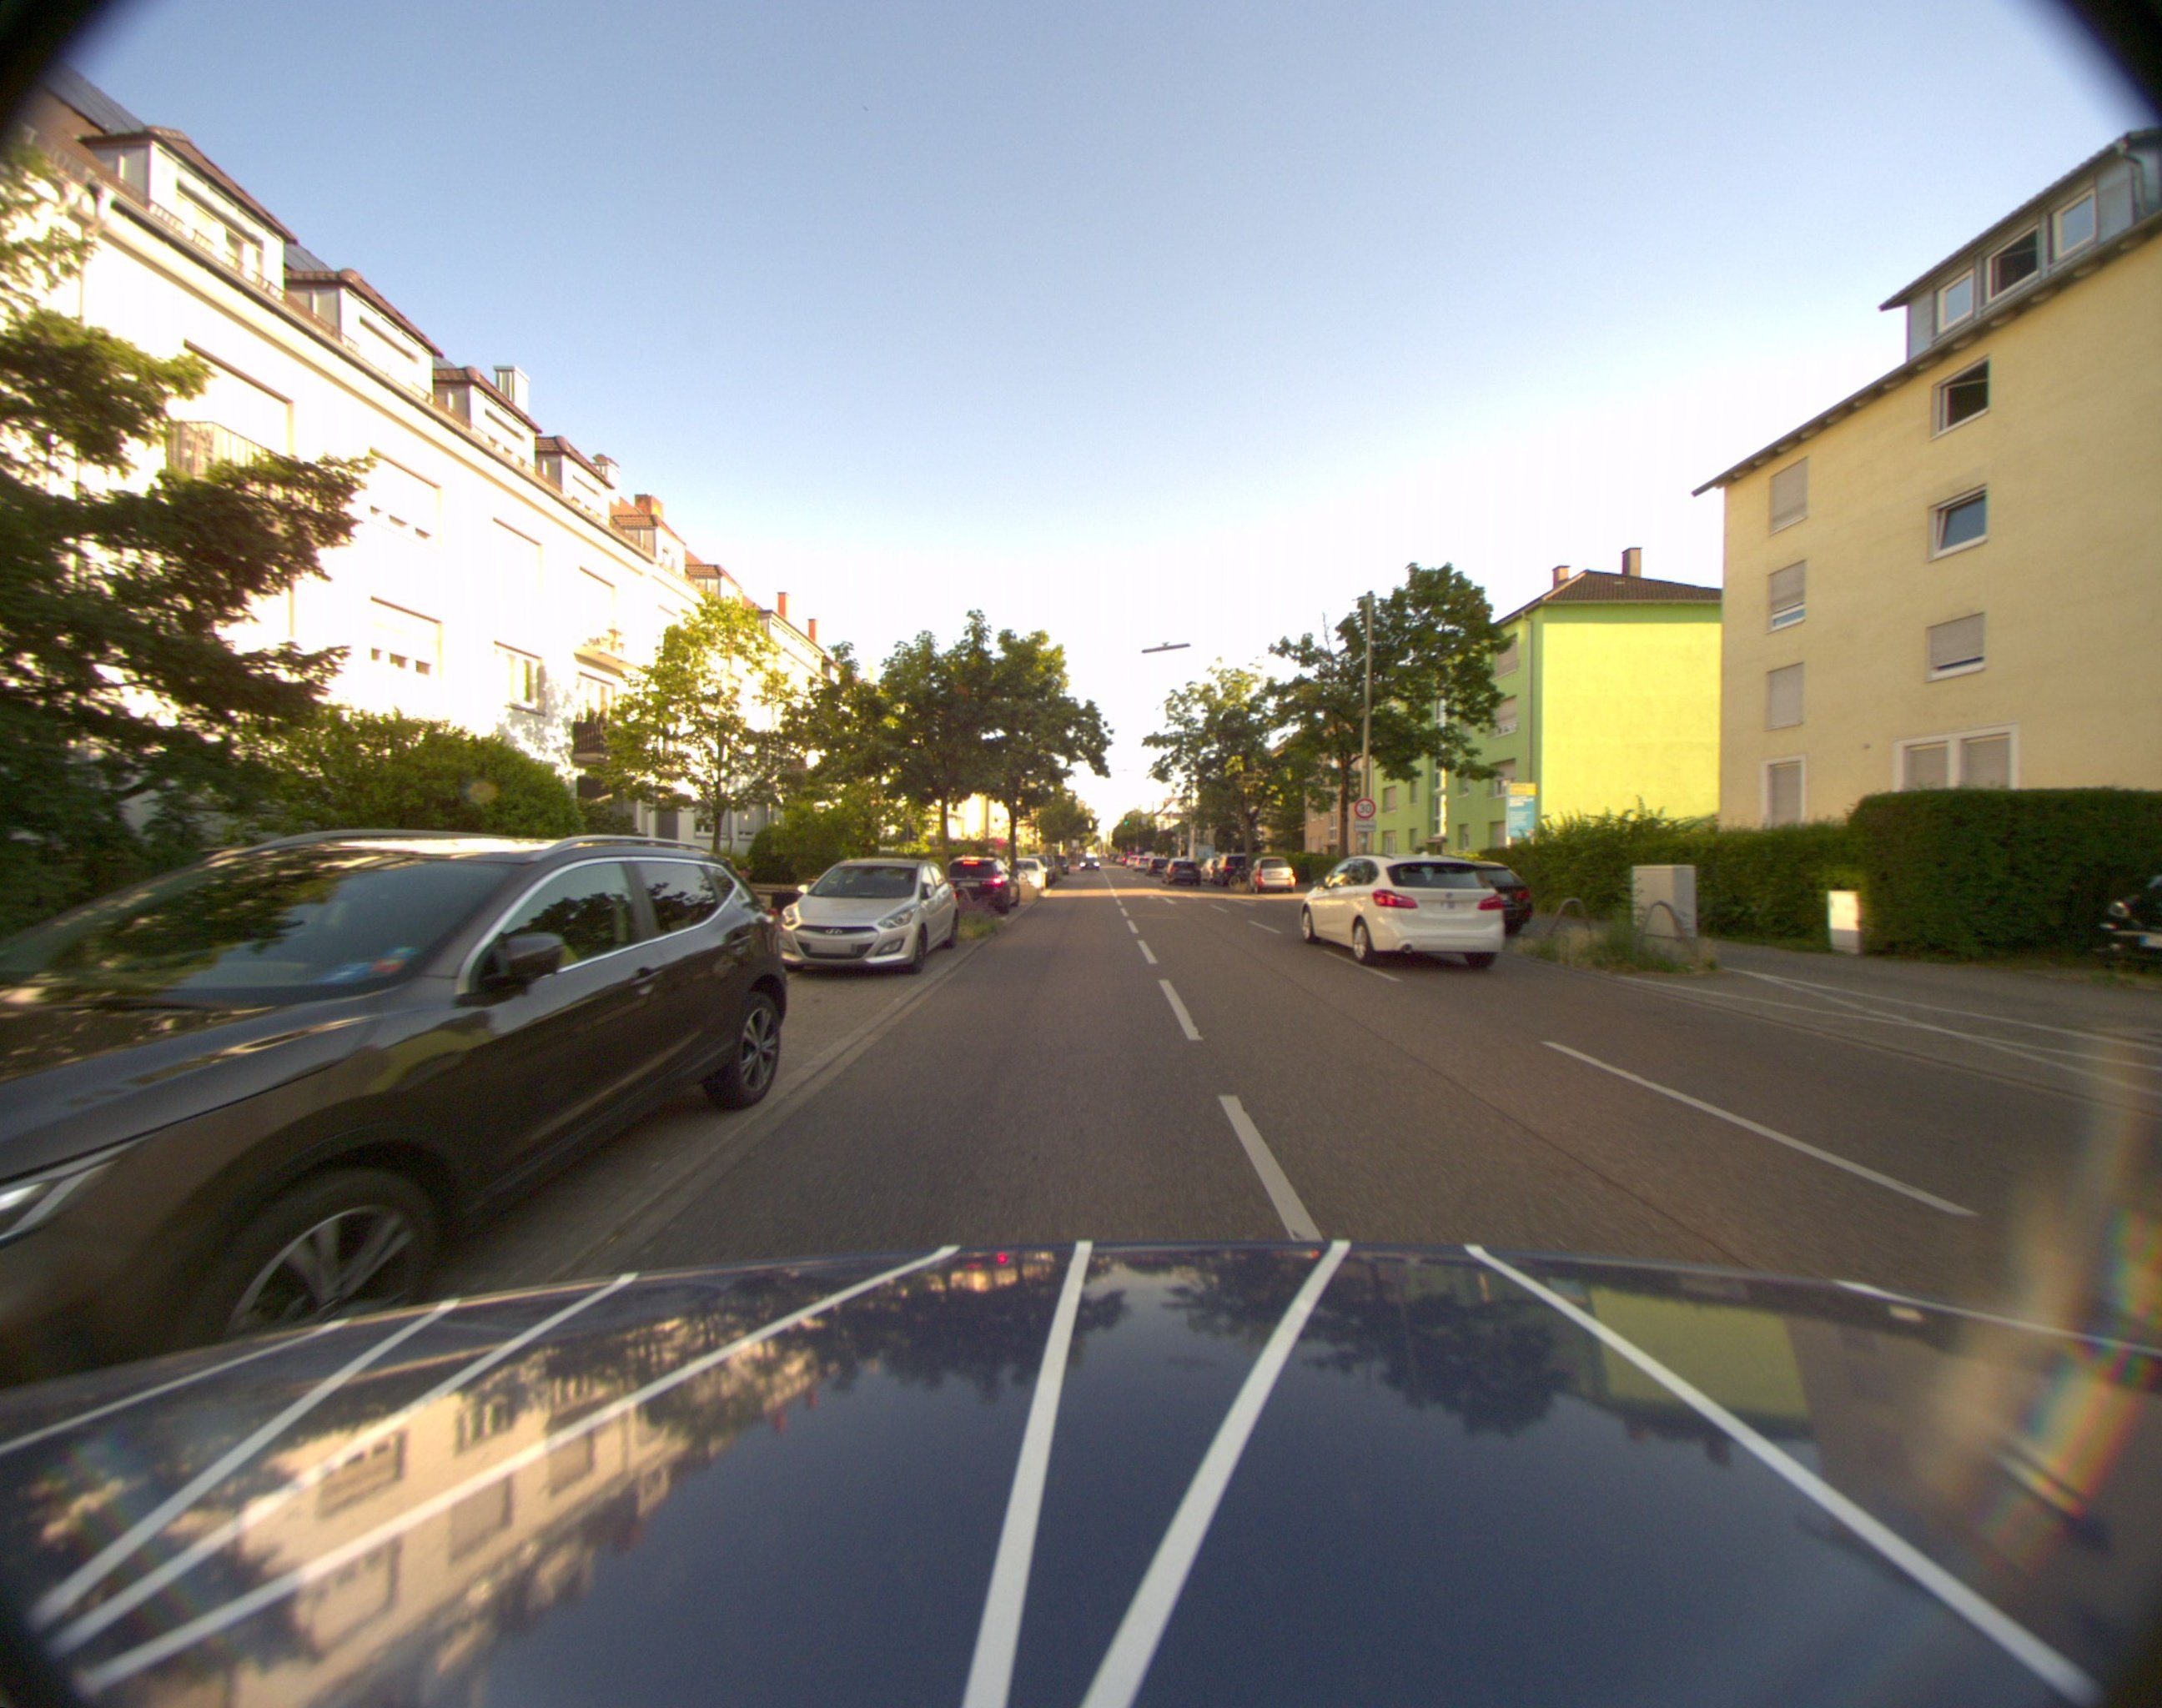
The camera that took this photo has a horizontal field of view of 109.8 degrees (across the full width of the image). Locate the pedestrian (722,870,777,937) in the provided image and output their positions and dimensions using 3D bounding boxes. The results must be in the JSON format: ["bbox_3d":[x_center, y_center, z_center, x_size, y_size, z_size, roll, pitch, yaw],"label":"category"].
[{"bbox_3d":[-6.327,0.928,14.531,0.674,1.227,0.790,-1,1,2],"label":"pedestrian"}]

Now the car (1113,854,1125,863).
[{"bbox_3d":[6.506,0.757,130.707,1.841,1.465,4.671,1,0,1],"label":"car"}]

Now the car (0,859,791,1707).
[{"bbox_3d":[-2.819,0.857,2.981,1.722,1.592,4.096,2,0,1],"label":"car"}]

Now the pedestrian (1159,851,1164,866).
[{"bbox_3d":[10.955,0.647,103.526,0.639,2.002,0.739,0,1,2],"label":"pedestrian"}]

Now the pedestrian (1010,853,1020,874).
[{"bbox_3d":[-4.856,0.672,55.665,0.558,1.559,0.747,0,1,-17],"label":"pedestrian"}]

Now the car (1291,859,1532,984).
[{"bbox_3d":[4.745,0.869,11.701,1.884,1.534,4.267,1,0,1],"label":"car"}]

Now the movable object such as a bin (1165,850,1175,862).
[{"bbox_3d":[13.815,0.289,117.811,1.309,1.649,1.180,-4,2,1],"label":"movable object such as a bin"}]

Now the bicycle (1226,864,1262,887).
[{"bbox_3d":[8.245,1.094,38.395,1.679,1.083,0.560,-2,0,3],"label":"bicycle"}]

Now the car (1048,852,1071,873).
[{"bbox_3d":[-1.719,0.673,61.666,1.796,1.622,4.029,0,0,0],"label":"car"}]

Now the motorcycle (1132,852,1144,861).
[{"bbox_3d":[10.030,0.395,133.476,1.263,1.526,2.887,0,1,-13],"label":"motorcycle"}]

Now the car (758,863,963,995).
[{"bbox_3d":[-2.924,0.911,11.114,1.722,1.485,4.394,0,0,0],"label":"car"}]

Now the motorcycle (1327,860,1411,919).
[{"bbox_3d":[7.579,0.910,19.990,2.031,1.381,0.988,-3,2,-31],"label":"motorcycle"}]

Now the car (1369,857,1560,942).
[{"bbox_3d":[7.835,0.841,16.079,1.783,1.496,4.588,0,0,1],"label":"car"}]

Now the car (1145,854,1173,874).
[{"bbox_3d":[5.975,0.749,58.489,1.704,1.395,4.027,2,0,1],"label":"car"}]

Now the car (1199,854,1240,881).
[{"bbox_3d":[8.491,0.796,46.875,1.687,1.512,4.190,0,0,0],"label":"car"}]

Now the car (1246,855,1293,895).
[{"bbox_3d":[8.170,0.883,33.109,1.502,1.607,2.862,0,0,4],"label":"car"}]

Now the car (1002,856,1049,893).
[{"bbox_3d":[-2.367,0.847,33.341,1.641,1.482,4.415,1,0,1],"label":"car"}]

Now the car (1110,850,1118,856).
[{"bbox_3d":[7.637,-0.278,177.602,1.845,1.312,4.442,1,0,2],"label":"car"}]

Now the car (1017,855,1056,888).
[{"bbox_3d":[-2.232,0.856,38.875,1.640,1.559,4.000,1,0,1],"label":"car"}]

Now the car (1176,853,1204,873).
[{"bbox_3d":[8.797,0.703,61.771,1.641,1.543,3.785,0,0,-2],"label":"car"}]

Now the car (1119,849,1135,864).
[{"bbox_3d":[6.581,0.362,108.168,1.998,1.934,4.777,2,0,1],"label":"car"}]

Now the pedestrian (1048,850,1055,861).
[{"bbox_3d":[-4.413,0.255,113.545,0.830,1.673,0.660,1,1,5],"label":"pedestrian"}]

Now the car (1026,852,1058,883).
[{"bbox_3d":[-2.182,0.729,43.684,1.726,1.646,4.596,0,0,-2],"label":"car"}]

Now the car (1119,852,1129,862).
[{"bbox_3d":[8.382,0.623,149.085,1.866,1.819,5.228,2,0,3],"label":"car"}]

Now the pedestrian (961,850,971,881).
[{"bbox_3d":[-6.363,0.612,41.970,0.512,1.687,0.527,0,1,-4],"label":"pedestrian"}]

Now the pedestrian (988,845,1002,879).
[{"bbox_3d":[-4.626,0.417,40.975,0.549,1.839,0.765,0,1,8],"label":"pedestrian"}]

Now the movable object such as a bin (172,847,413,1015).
[{"bbox_3d":[-7.823,0.704,7.607,1.269,1.484,1.140,2,1,11],"label":"movable object such as a bin"}]

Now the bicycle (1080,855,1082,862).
[{"bbox_3d":[-0.002,0.720,122.770,0.325,0.981,1.191,0,1,5],"label":"bicycle"}]

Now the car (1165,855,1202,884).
[{"bbox_3d":[5.626,0.835,42.022,1.704,1.462,4.295,1,0,3],"label":"car"}]

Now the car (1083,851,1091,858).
[{"bbox_3d":[1.426,0.101,188.025,1.744,1.508,3.811,0,0,3],"label":"car"}]

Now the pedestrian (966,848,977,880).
[{"bbox_3d":[-5.875,0.547,40.843,0.512,1.687,0.527,0,1,-4],"label":"pedestrian"}]

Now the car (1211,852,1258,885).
[{"bbox_3d":[8.366,0.742,41.703,1.788,1.722,4.617,0,0,2],"label":"car"}]

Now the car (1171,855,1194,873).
[{"bbox_3d":[8.854,0.850,66.513,1.657,1.471,3.943,0,0,2],"label":"car"}]

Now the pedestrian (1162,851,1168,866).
[{"bbox_3d":[11.303,0.622,102.054,0.645,2.002,0.814,-1,2,2],"label":"pedestrian"}]

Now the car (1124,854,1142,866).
[{"bbox_3d":[6.376,0.735,93.929,1.820,1.438,4.110,2,0,0],"label":"car"}]

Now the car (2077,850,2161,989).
[{"bbox_3d":[13.905,0.697,8.247,3.997,1.520,1.629,-1,0,1],"label":"car"}]

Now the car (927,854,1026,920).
[{"bbox_3d":[-2.760,0.821,21.266,1.879,1.572,4.821,1,0,3],"label":"car"}]

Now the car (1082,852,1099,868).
[{"bbox_3d":[0.961,0.569,76.732,1.641,1.482,4.415,1,0,1],"label":"car"}]

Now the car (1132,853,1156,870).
[{"bbox_3d":[5.973,0.660,72.538,1.837,1.462,4.451,3,0,-1],"label":"car"}]
